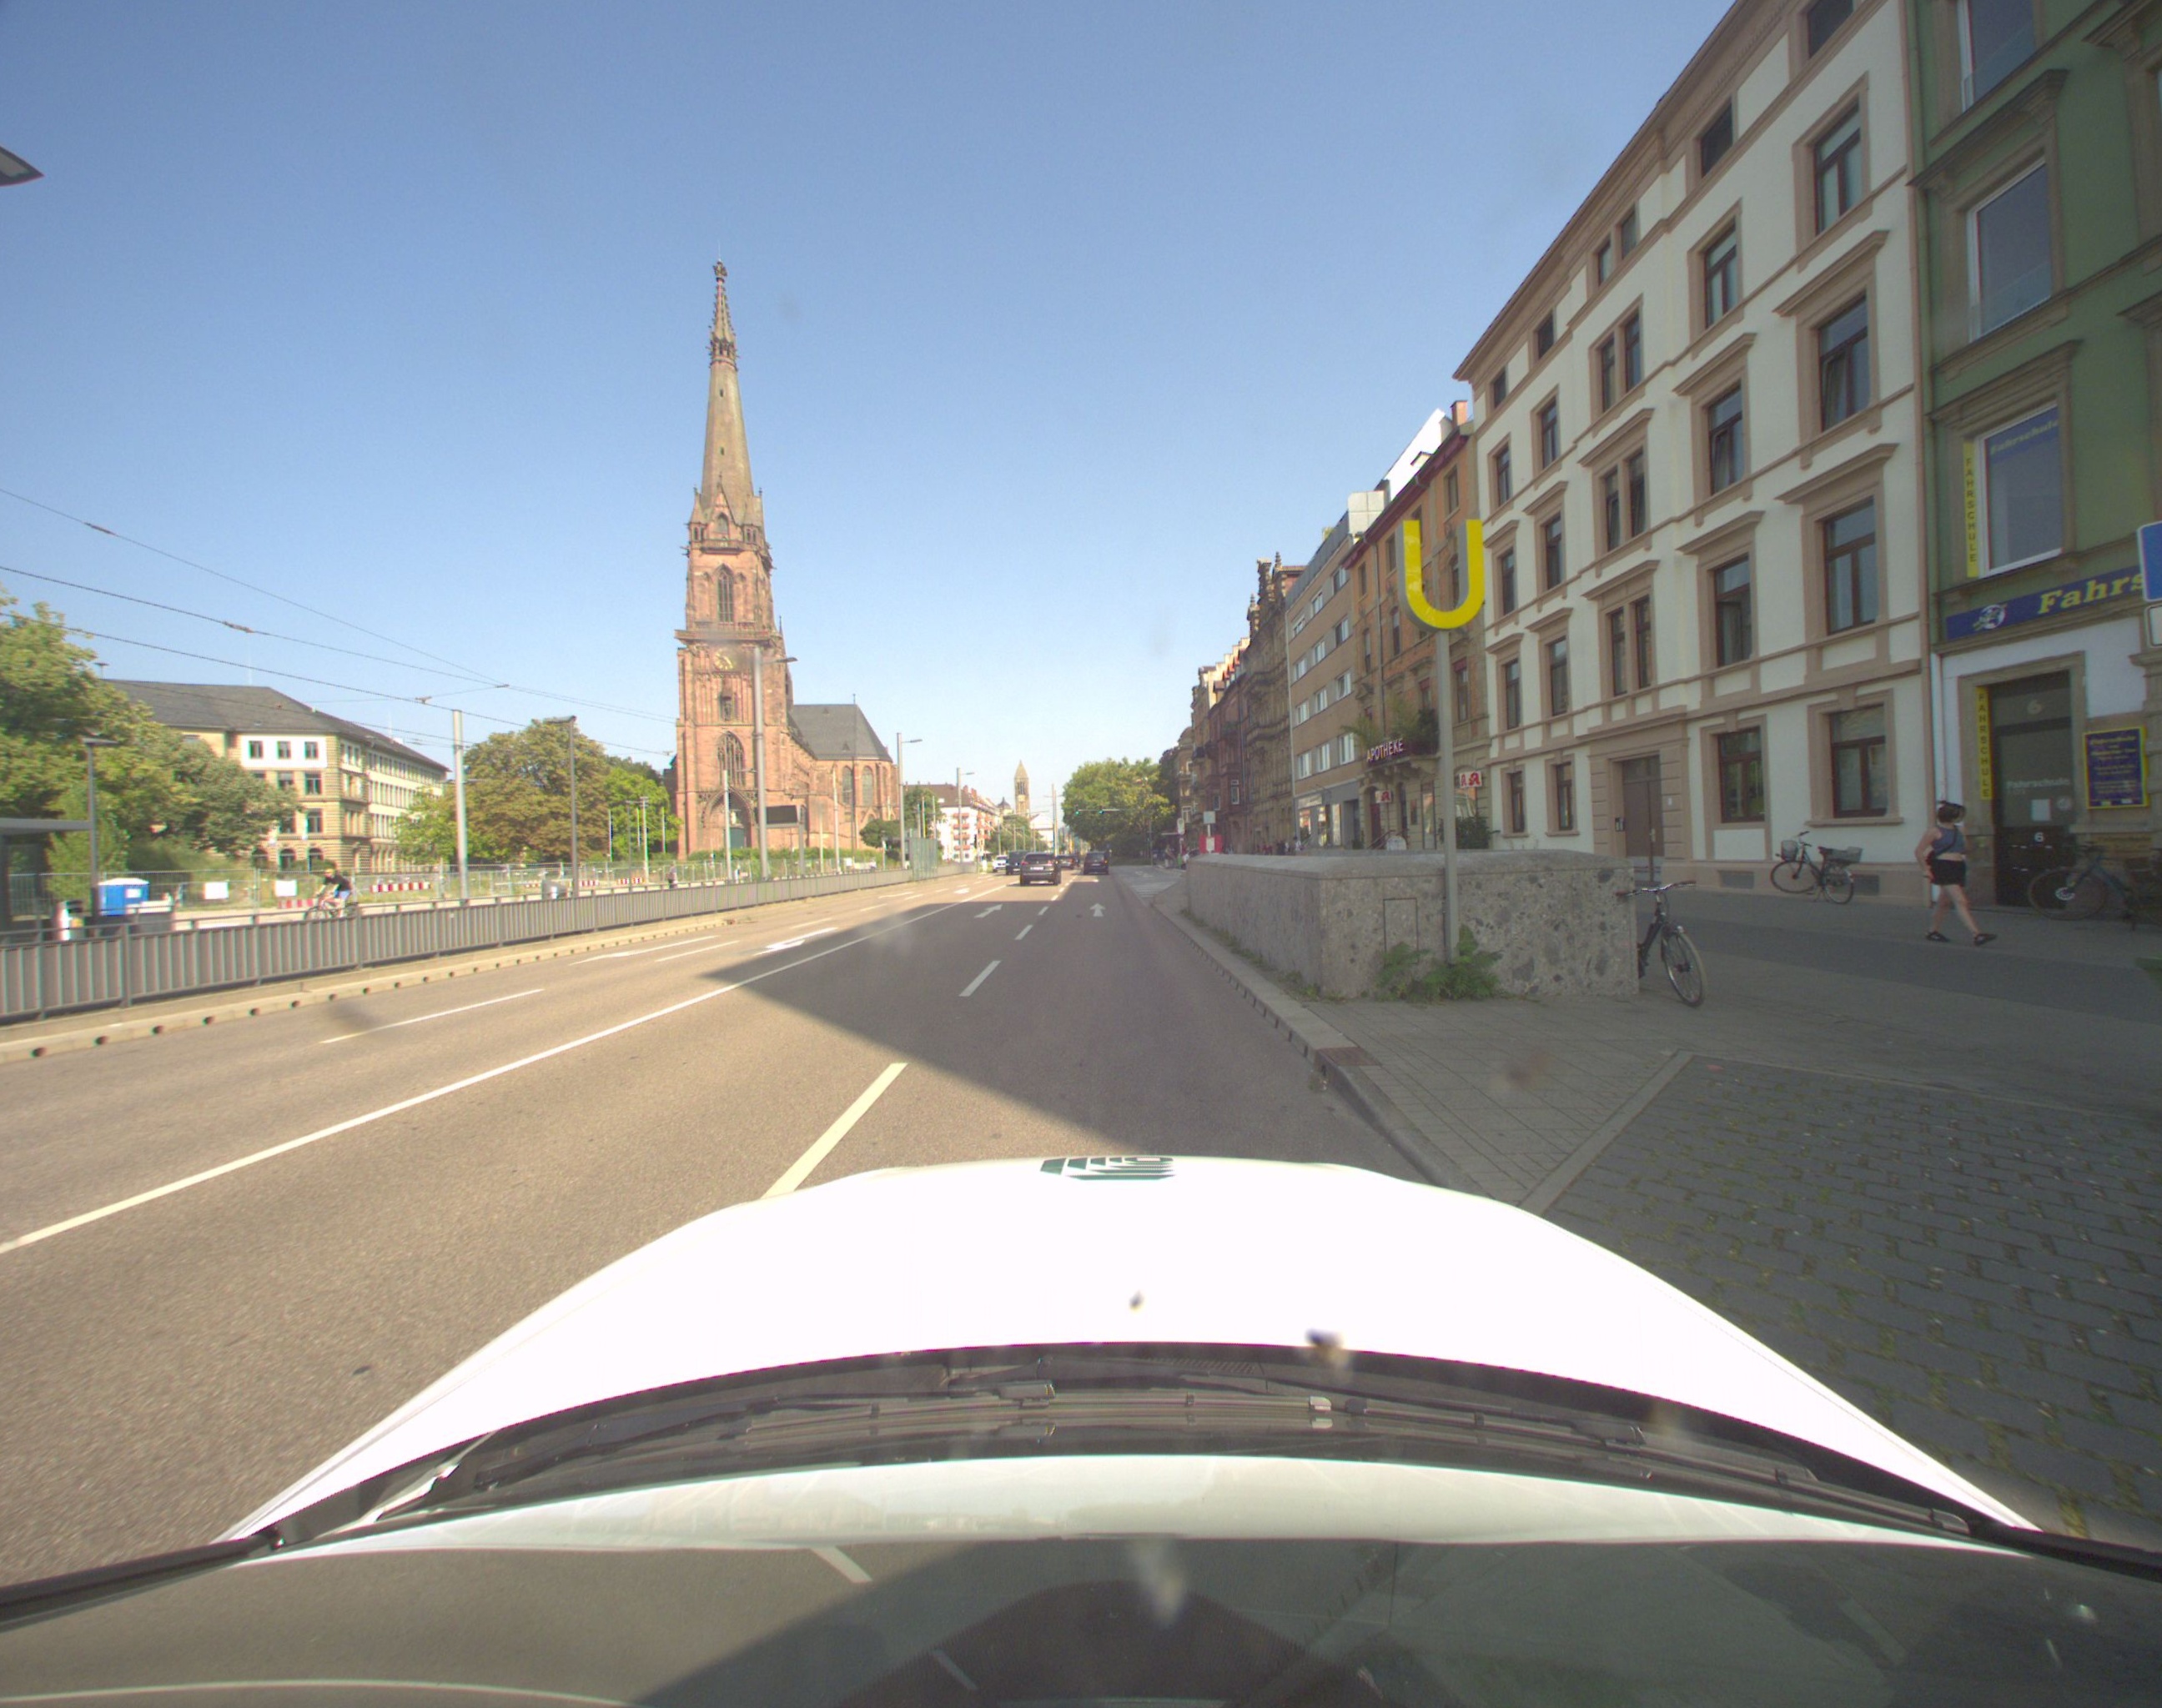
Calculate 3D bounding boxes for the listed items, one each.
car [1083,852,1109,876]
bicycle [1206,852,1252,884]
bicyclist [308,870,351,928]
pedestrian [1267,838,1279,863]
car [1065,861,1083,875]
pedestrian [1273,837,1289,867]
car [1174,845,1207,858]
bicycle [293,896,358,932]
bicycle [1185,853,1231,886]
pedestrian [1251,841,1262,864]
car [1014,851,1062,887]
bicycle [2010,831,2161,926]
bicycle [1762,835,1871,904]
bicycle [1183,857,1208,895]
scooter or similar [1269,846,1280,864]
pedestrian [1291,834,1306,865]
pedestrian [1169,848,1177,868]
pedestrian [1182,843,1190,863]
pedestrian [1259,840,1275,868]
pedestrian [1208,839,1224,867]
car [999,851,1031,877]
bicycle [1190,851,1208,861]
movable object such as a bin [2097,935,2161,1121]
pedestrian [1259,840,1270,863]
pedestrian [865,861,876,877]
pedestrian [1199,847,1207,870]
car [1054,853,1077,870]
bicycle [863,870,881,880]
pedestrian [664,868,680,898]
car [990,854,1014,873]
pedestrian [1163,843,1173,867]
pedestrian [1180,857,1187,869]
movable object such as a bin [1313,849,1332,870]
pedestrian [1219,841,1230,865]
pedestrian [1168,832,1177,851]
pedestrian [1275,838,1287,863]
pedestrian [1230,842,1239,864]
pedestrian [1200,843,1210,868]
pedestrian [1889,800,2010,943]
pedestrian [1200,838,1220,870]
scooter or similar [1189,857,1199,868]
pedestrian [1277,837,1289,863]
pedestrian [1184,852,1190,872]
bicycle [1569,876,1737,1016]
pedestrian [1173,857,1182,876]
[{"bbox_3d":[1.113,0.700,60.234,1.825,1.621,4.358,-1,0,1],"label":"car"},{"bbox_3d":[5.721,0.526,31.557,1.626,1.148,0.602,-3,0,3],"label":"bicycle"},{"bbox_3d":[-23.238,1.382,25.187,0.485,1.747,0.819,-2,0,1],"label":"bicyclist"},{"bbox_3d":[13.412,-0.234,56.816,0.602,1.691,0.586,-2,0,-2],"label":"pedestrian"},{"bbox_3d":[-0.777,1.516,90.441,1.857,1.424,4.358,-1,0,1],"label":"car"},{"bbox_3d":[11.872,-0.123,48.360,0.717,1.787,0.856,-2,0,2],"label":"pedestrian"},{"bbox_3d":[14.945,-0.380,111.618,4.171,1.563,1.998,-2,0,-4],"label":"car"},{"bbox_3d":[-23.295,1.837,25.144,0.349,0.954,1.696,-2,0,2],"label":"bicycle"},{"bbox_3d":[4.784,0.582,30.804,1.629,1.148,0.385,-3,0,-4],"label":"bicycle"},{"bbox_3d":[13.343,-0.128,61.932,0.627,1.719,0.691,-2,0,1],"label":"pedestrian"},{"bbox_3d":[-2.033,0.685,39.869,1.986,1.621,4.358,-1,0,1],"label":"car"},{"bbox_3d":[13.078,0.286,10.430,0.382,1.134,1.720,-2,0,2],"label":"bicycle"},{"bbox_3d":[12.928,0.248,14.378,0.382,1.134,1.720,-2,0,2],"label":"bicycle"},{"bbox_3d":[3.675,0.694,26.337,0.406,1.148,1.653,-2,0,-5],"label":"bicycle"},{"bbox_3d":[12.833,0.073,53.964,0.359,1.163,1.152,-2,0,-1],"label":"scooter or similar"},{"bbox_3d":[13.138,-0.273,49.222,0.602,1.831,0.742,-2,0,-2],"label":"pedestrian"},{"bbox_3d":[7.399,0.326,65.482,0.526,1.612,0.702,-2,0,-2],"label":"pedestrian"},{"bbox_3d":[9.269,-0.107,71.869,0.480,1.702,0.702,-2,0,-2],"label":"pedestrian"},{"bbox_3d":[11.122,-0.009,48.748,0.717,1.610,0.856,-2,0,2],"label":"pedestrian"},{"bbox_3d":[8.582,-0.080,51.823,0.747,1.729,0.800,-2,0,-2],"label":"pedestrian"},{"bbox_3d":[-5.270,0.809,65.766,1.987,1.904,4.717,-4,0,1],"label":"car"},{"bbox_3d":[13.338,0.169,92.273,1.925,1.048,0.499,-2,0,-5],"label":"bicycle"},{"bbox_3d":[5.700,0.892,4.093,0.487,0.903,0.538,-2,0,3],"label":"movable object such as a bin"},{"bbox_3d":[13.285,-0.170,58.891,0.602,1.654,0.586,-2,0,-2],"label":"pedestrian"},{"bbox_3d":[-21.800,1.543,84.407,0.911,1.679,0.604,-2,0,9],"label":"pedestrian"},{"bbox_3d":[9.174,0.319,61.325,0.340,1.732,0.805,-2,0,-2],"label":"pedestrian"},{"bbox_3d":[-1.413,0.677,73.865,1.857,1.424,4.358,-1,0,1],"label":"car"},{"bbox_3d":[-21.694,2.155,84.409,1.748,0.978,0.481,-2,0,9],"label":"bicycle"},{"bbox_3d":[-23.267,1.637,46.309,0.515,1.700,0.664,-2,0,0],"label":"pedestrian"},{"bbox_3d":[-7.526,0.859,77.688,1.707,1.611,4.505,-4,0,1],"label":"car"},{"bbox_3d":[6.180,0.070,57.950,0.563,1.729,0.745,-2,0,-2],"label":"pedestrian"},{"bbox_3d":[7.076,0.642,56.075,0.302,0.820,0.603,-2,0,-6],"label":"pedestrian"},{"bbox_3d":[12.819,0.281,43.244,0.738,1.080,0.666,-2,0,-16],"label":"movable object such as a bin"},{"bbox_3d":[11.082,-0.107,63.026,0.614,1.804,1.072,-2,0,2],"label":"pedestrian"},{"bbox_3d":[8.139,-1.121,72.429,0.688,1.664,0.619,-2,0,1],"label":"pedestrian"},{"bbox_3d":[13.710,-0.255,55.913,0.602,1.691,0.586,-2,0,-2],"label":"pedestrian"},{"bbox_3d":[11.850,-0.070,62.914,0.484,1.610,0.813,-2,0,2],"label":"pedestrian"},{"bbox_3d":[8.799,0.131,57.748,0.563,1.729,0.617,-2,0,-2],"label":"pedestrian"},{"bbox_3d":[10.420,0.201,9.796,0.606,1.629,0.737,-2,0,1],"label":"pedestrian"},{"bbox_3d":[7.599,0.018,47.949,0.923,1.831,0.800,-2,0,-3],"label":"pedestrian"},{"bbox_3d":[8.051,0.616,57.949,0.563,0.741,0.514,-2,0,-2],"label":"scooter or similar"},{"bbox_3d":[13.672,-0.245,55.216,0.602,1.731,0.510,-2,0,-3],"label":"pedestrian"},{"bbox_3d":[7.137,0.535,54.939,0.275,1.274,0.447,-2,0,-6],"label":"pedestrian"},{"bbox_3d":[5.470,0.820,7.923,0.382,1.134,1.791,-2,0,2],"label":"bicycle"},{"bbox_3d":[6.859,0.891,57.901,0.563,1.277,0.596,-2,0,-3],"label":"pedestrian"}]
